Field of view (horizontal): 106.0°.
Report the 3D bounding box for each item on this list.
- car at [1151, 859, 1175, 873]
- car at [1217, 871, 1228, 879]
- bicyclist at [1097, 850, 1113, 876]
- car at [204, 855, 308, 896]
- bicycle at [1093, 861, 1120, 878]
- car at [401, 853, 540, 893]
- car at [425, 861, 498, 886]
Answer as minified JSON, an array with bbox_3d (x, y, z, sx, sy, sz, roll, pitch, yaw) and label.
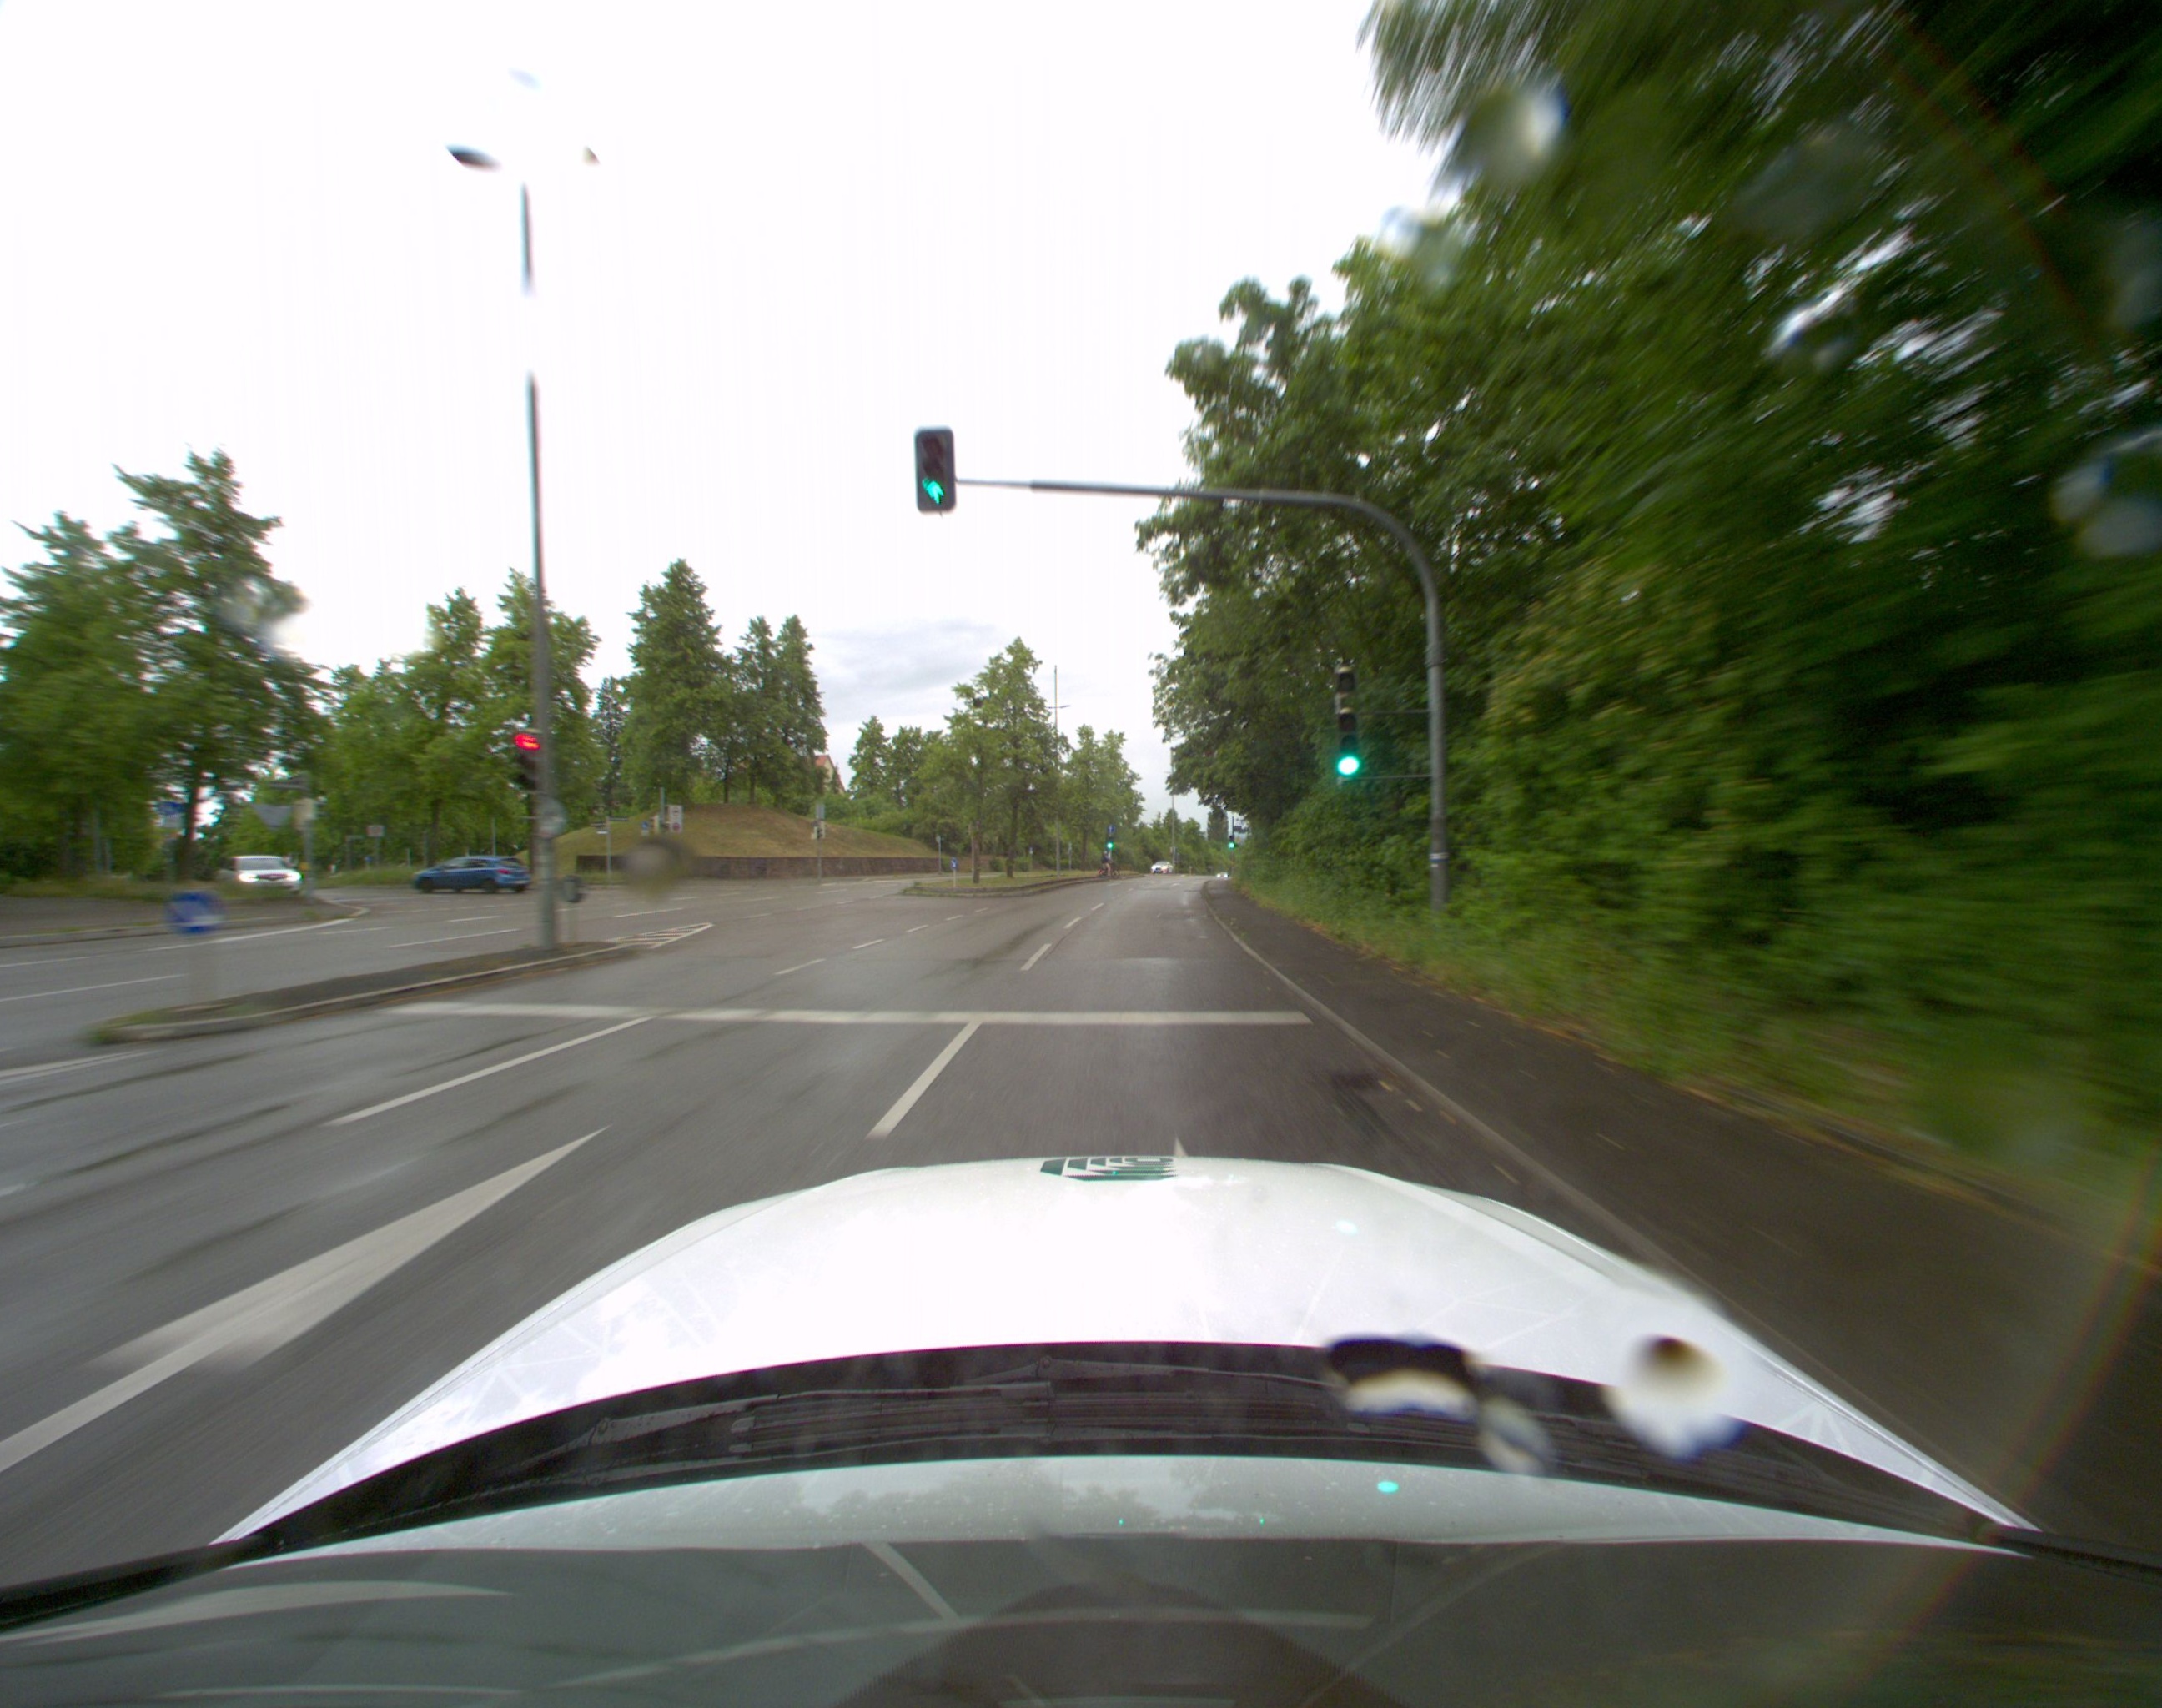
[{"bbox_3d":[10.213,1.545,101.673,1.929,1.636,5.028,0,-1,18],"label":"car"},{"bbox_3d":[29.131,4.314,167.579,1.765,1.472,4.664,0,-2,16],"label":"car"},{"bbox_3d":[1.666,0.647,55.913,0.806,1.752,0.716,2,-5,-43],"label":"bicyclist"},{"bbox_3d":[-31.386,0.793,30.979,3.651,1.478,1.772,0,-1,28],"label":"car"},{"bbox_3d":[1.767,1.067,56.004,2.152,1.143,0.547,1,-1,-43],"label":"bicycle"},{"bbox_3d":[-23.957,0.734,32.069,3.911,1.490,2.000,0,0,0],"label":"car"},{"bbox_3d":[-47.027,1.450,61.938,4.001,1.852,1.986,0,0,-21],"label":"car"}]
